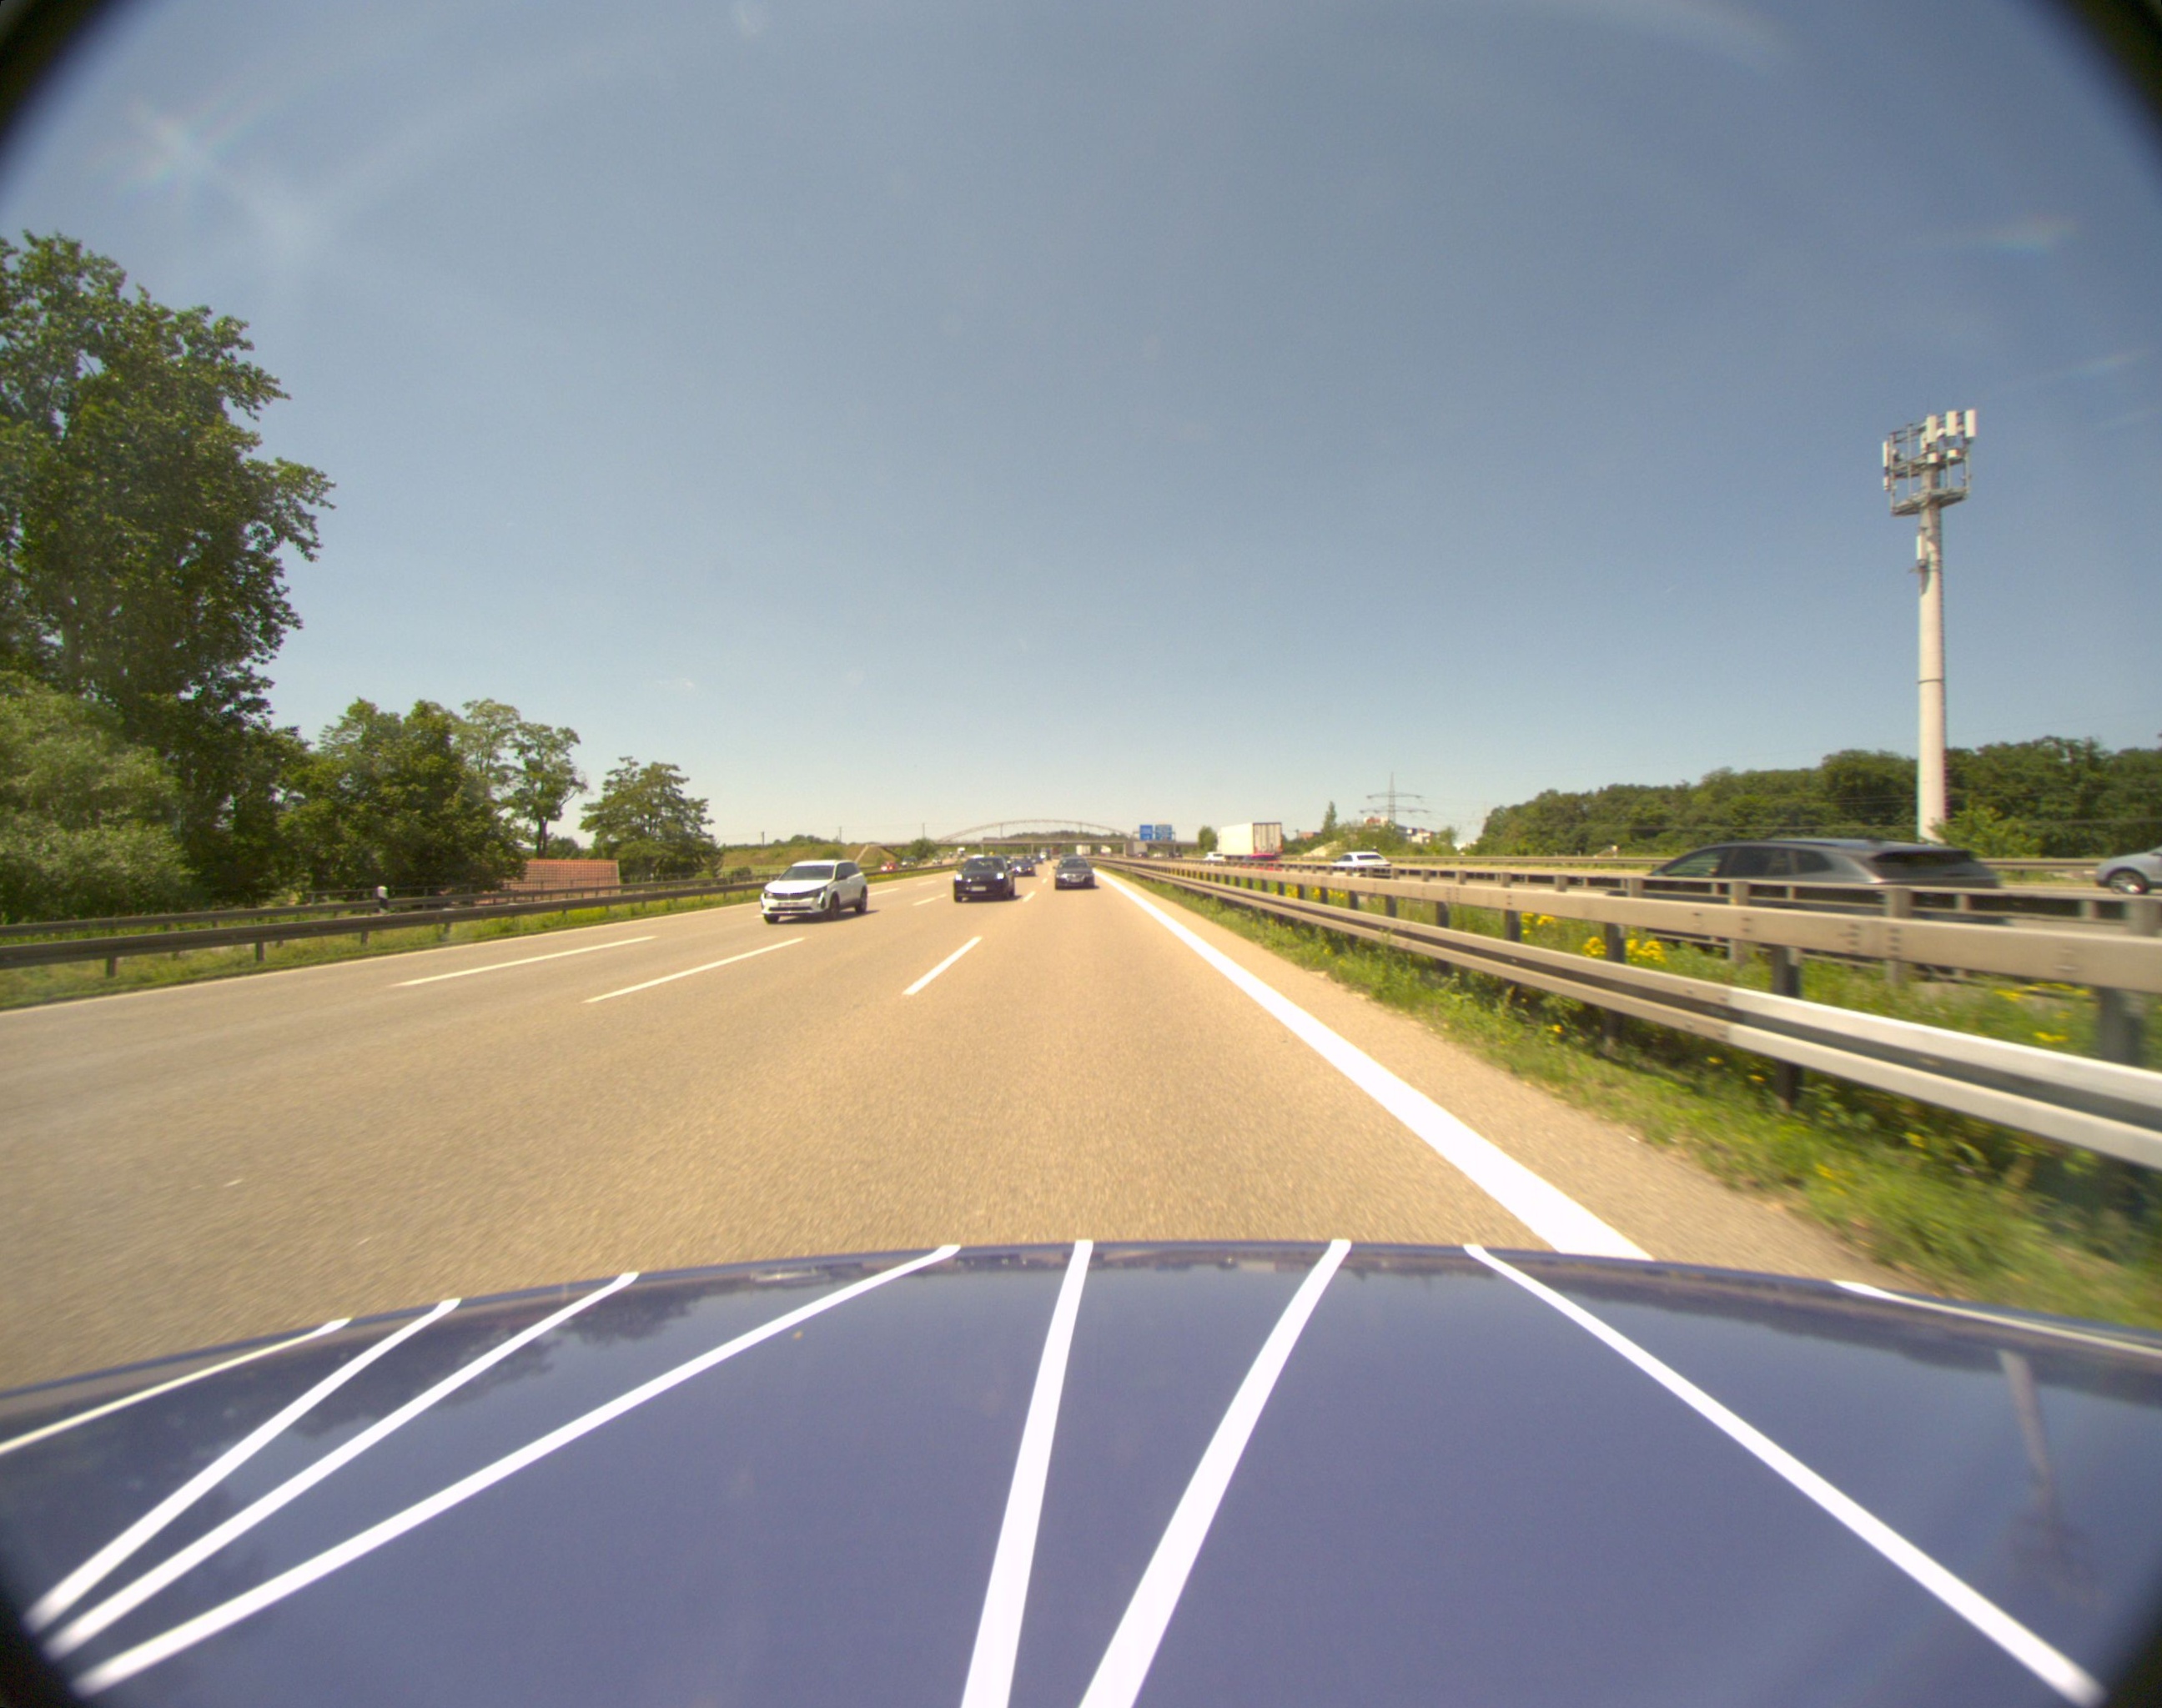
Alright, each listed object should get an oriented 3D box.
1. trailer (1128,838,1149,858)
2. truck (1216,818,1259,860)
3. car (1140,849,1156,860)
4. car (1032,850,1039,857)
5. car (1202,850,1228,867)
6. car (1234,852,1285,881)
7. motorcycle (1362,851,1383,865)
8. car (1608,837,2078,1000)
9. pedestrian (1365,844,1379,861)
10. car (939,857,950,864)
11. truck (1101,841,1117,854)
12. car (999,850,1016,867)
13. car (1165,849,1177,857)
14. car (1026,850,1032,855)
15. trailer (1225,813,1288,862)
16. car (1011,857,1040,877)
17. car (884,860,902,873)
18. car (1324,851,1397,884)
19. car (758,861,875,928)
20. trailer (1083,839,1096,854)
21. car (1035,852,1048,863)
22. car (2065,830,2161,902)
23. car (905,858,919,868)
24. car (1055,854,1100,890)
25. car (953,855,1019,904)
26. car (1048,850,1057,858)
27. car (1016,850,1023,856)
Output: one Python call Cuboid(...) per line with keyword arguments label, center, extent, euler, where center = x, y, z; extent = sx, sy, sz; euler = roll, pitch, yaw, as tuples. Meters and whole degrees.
Cuboid(label="trailer", center=(12.059, -1.243, 159.752), extent=(2.898, 4.089, 12.582), euler=(-2, 0, -2))
Cuboid(label="truck", center=(16.636, -1.520, 81.119), extent=(3.043, 4.216, 6.684), euler=(-2, 0, 0))
Cuboid(label="car", center=(11.028, 0.104, 125.425), extent=(1.999, 1.635, 4.663), euler=(-2, 0, -1))
Cuboid(label="car", center=(-12.240, -0.185, 204.083), extent=(1.999, 1.849, 3.998), euler=(-2, 1, -4))
Cuboid(label="car", center=(12.569, 0.379, 71.387), extent=(1.745, 1.480, 4.007), euler=(-2, 0, 1))
Cuboid(label="car", center=(9.408, 0.626, 40.414), extent=(1.661, 1.415, 4.775), euler=(-2, 0, 1))
Cuboid(label="motorcycle", center=(22.446, 0.311, 58.556), extent=(0.659, 1.009, 2.487), euler=(-2, 0, 0))
Cuboid(label="car", center=(9.224, 0.634, 9.858), extent=(1.679, 1.605, 4.361), euler=(-2, 1, -1))
Cuboid(label="pedestrian", center=(22.438, -0.117, 58.534), extent=(0.652, 1.309, 1.035), euler=(-2, 1, 0))
Cuboid(label="car", center=(-30.728, 1.451, 170.771), extent=(1.704, 1.566, 4.127), euler=(-2, 1, -2))
Cuboid(label="truck", center=(7.970, -1.889, 220.884), extent=(3.228, 3.763, 12.896), euler=(-2, 0, -4))
Cuboid(label="car", center=(-8.682, 0.482, 89.977), extent=(1.809, 1.908, 4.293), euler=(-2, 1, -4))
Cuboid(label="car", center=(19.522, -0.234, 164.538), extent=(1.883, 1.604, 3.999), euler=(-2, 0, -2))
Cuboid(label="car", center=(-17.171, -0.514, 251.757), extent=(1.999, 1.849, 3.998), euler=(-2, 1, -4))
Cuboid(label="trailer", center=(16.716, -1.493, 73.427), extent=(3.043, 4.216, 12.246), euler=(-2, 0, -1))
Cuboid(label="car", center=(-4.235, 0.964, 58.549), extent=(1.931, 1.390, 4.117), euler=(-2, 1, 0))
Cuboid(label="car", center=(-24.893, 1.693, 100.712), extent=(1.704, 1.566, 4.126), euler=(-2, 1, -4))
Cuboid(label="car", center=(13.041, 0.571, 35.751), extent=(1.661, 1.395, 4.758), euler=(-2, 0, 0))
Cuboid(label="car", center=(-7.384, 1.055, 21.732), extent=(1.748, 1.582, 4.619), euler=(-2, 1, -1))
Cuboid(label="trailer", center=(2.511, -2.167, 229.044), extent=(2.963, 4.346, 10.728), euler=(-2, 1, -4))
Cuboid(label="car", center=(-6.716, 0.507, 128.797), extent=(1.925, 1.761, 3.999), euler=(-2, 1, -1))
Cuboid(label="car", center=(24.276, 0.244, 15.741), extent=(2.110, 1.523, 4.371), euler=(-2, 0, 0))
Cuboid(label="car", center=(-28.433, 1.524, 127.969), extent=(1.704, 1.566, 4.126), euler=(-2, 1, -4))
Cuboid(label="car", center=(-0.203, 0.804, 35.750), extent=(1.932, 1.499, 4.390), euler=(-2, 1, -1))
Cuboid(label="car", center=(-3.462, 0.886, 28.409), extent=(1.931, 1.586, 4.131), euler=(-2, 1, -1))
Cuboid(label="car", center=(-6.916, -0.120, 182.490), extent=(1.999, 1.849, 3.998), euler=(-2, 1, -4))
Cuboid(label="car", center=(-18.634, -0.280, 231.695), extent=(1.999, 1.849, 3.998), euler=(-2, 1, -4))
